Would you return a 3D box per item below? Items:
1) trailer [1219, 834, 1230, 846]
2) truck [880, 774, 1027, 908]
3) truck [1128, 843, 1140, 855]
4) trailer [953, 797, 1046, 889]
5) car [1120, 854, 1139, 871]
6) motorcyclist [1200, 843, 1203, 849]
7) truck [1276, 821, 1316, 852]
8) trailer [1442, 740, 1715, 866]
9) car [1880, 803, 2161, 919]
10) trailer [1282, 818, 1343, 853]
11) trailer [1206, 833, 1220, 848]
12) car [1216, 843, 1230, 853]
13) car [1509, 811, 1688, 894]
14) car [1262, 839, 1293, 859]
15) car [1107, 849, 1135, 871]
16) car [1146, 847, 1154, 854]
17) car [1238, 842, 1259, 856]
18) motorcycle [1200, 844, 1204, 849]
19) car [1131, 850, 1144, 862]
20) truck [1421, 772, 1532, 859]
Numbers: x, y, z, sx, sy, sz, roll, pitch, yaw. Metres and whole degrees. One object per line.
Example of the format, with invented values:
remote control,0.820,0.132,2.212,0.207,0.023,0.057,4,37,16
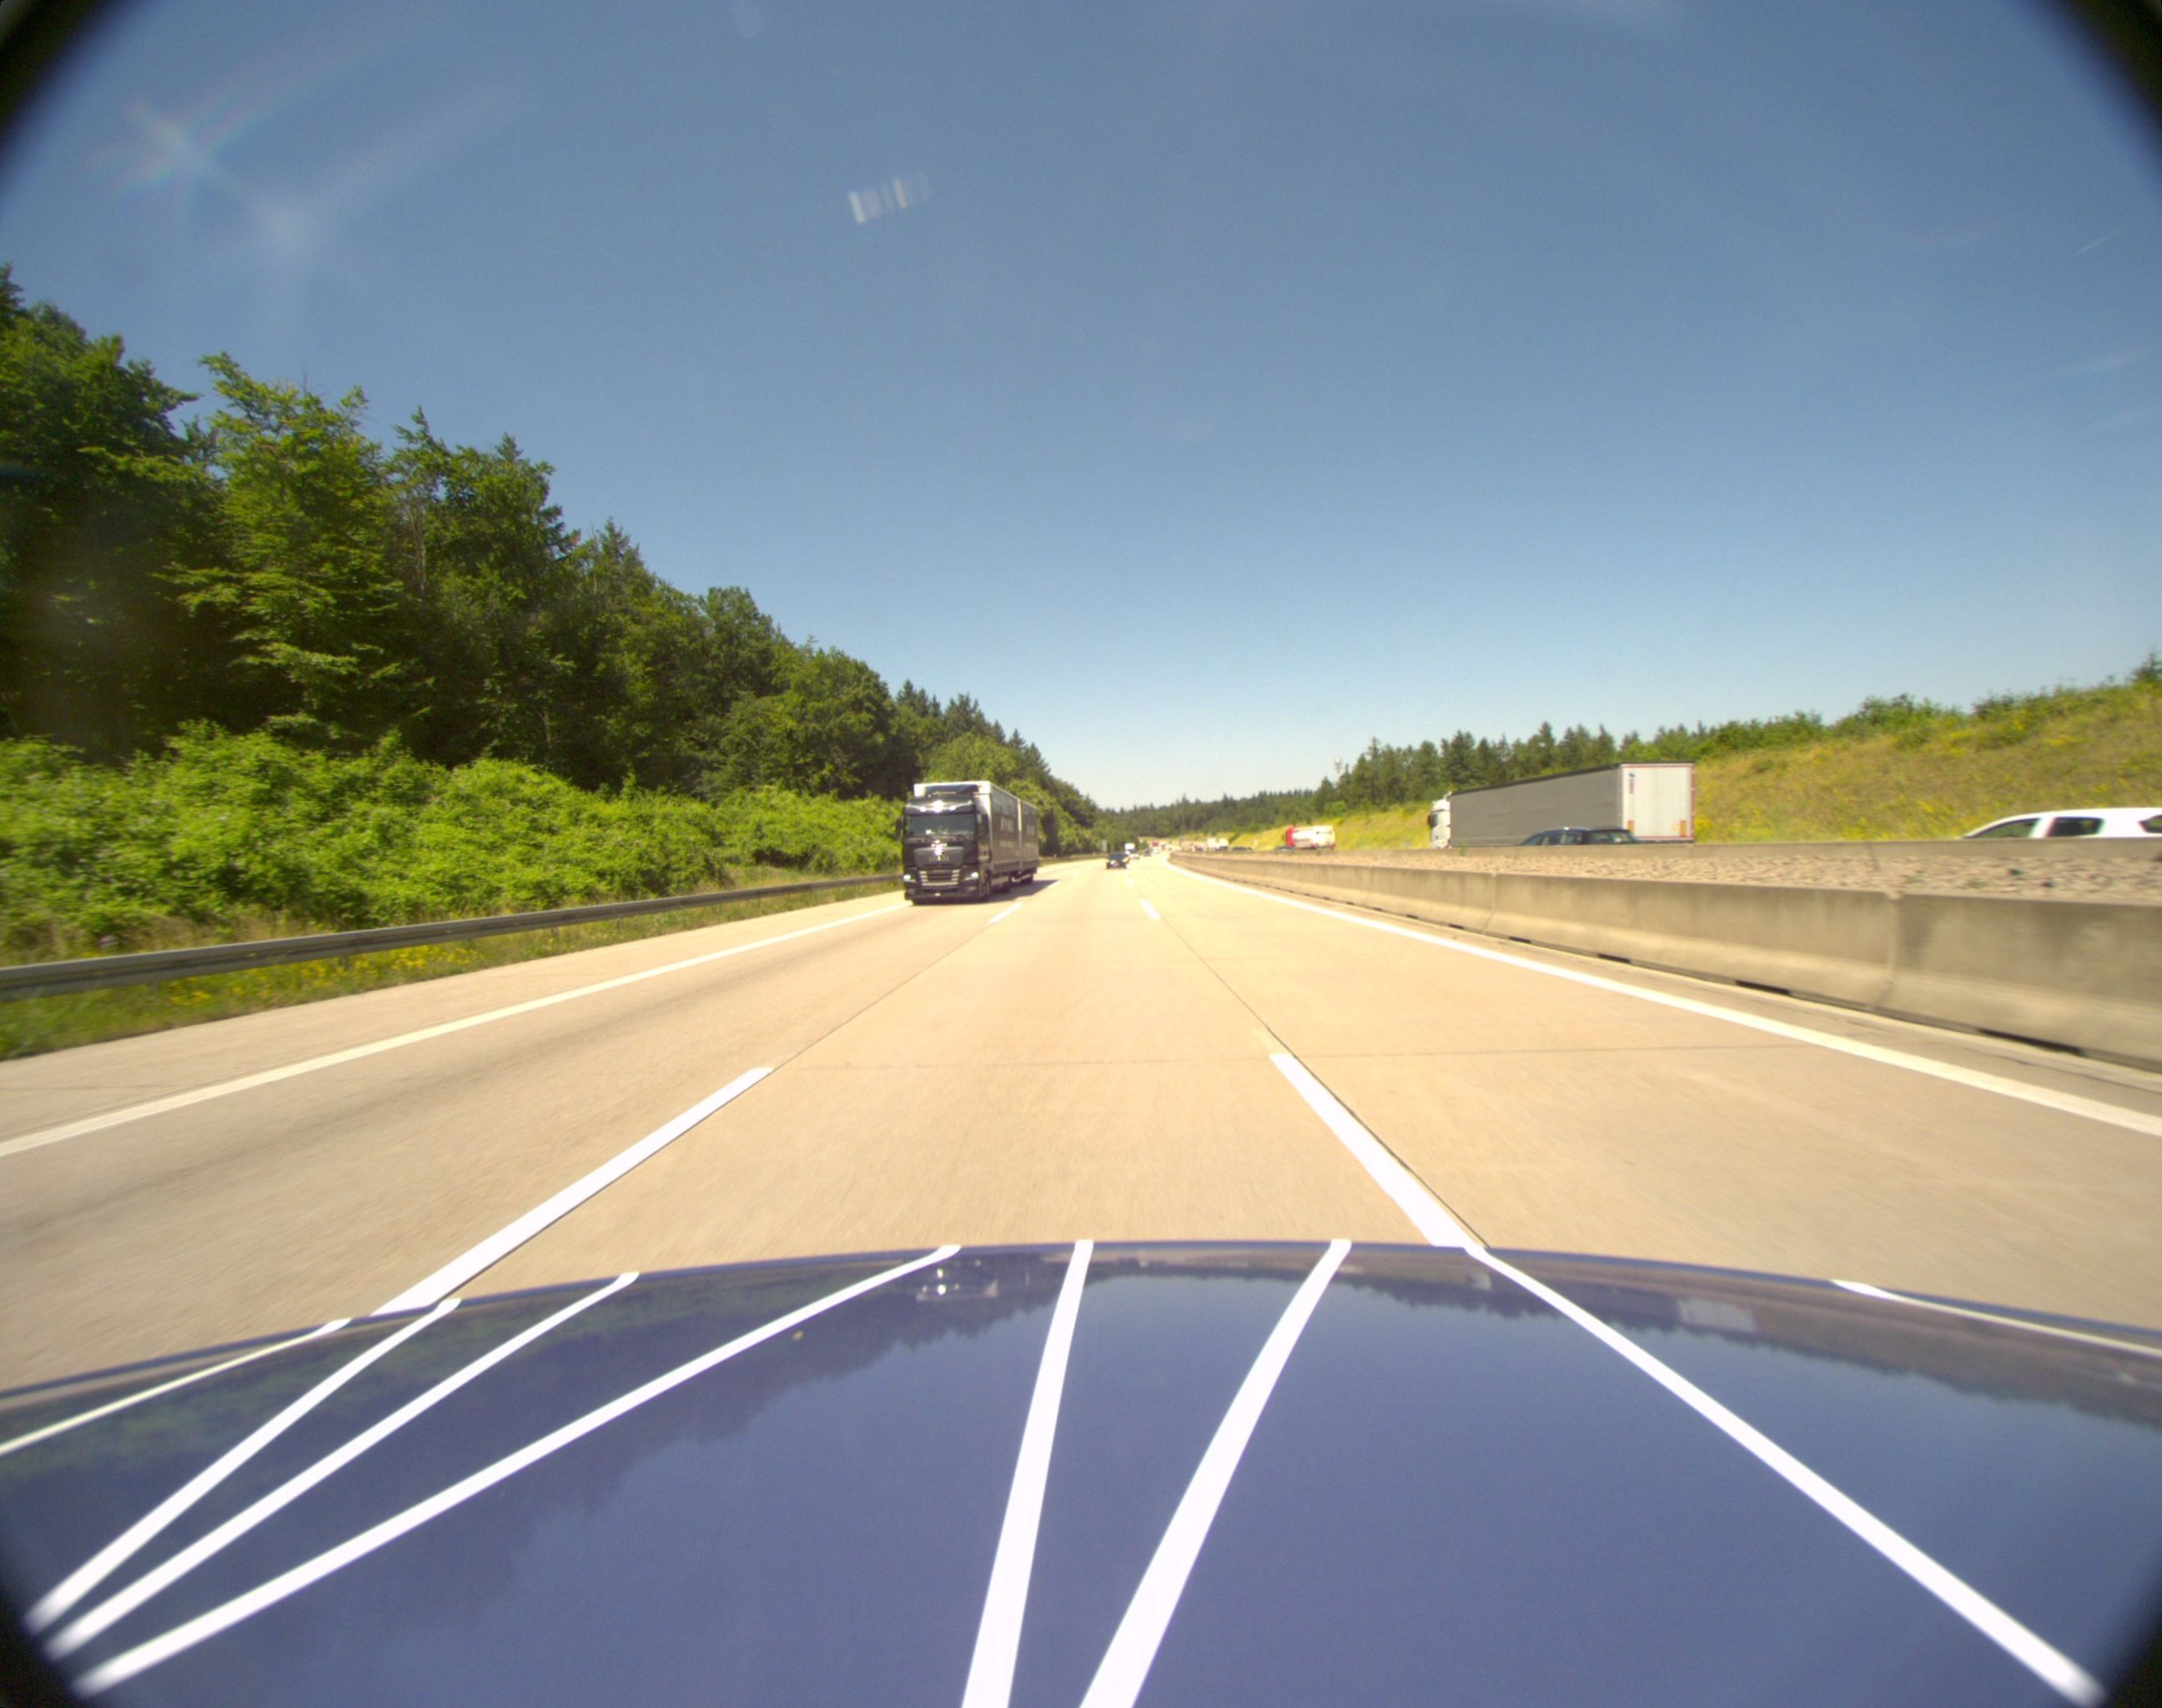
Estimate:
trailer,44.313,-4.435,235.501,2.730,3.393,8.959,-4,1,8
truck,-4.310,-0.435,28.685,3.167,3.993,10.608,-2,0,3
truck,13.634,-1.262,195.201,2.482,2.779,5.918,-5,1,10
trailer,-3.858,-0.524,38.550,3.142,3.993,9.089,-2,0,3
car,5.764,0.996,90.564,1.998,1.694,4.401,-5,1,5
motorcyclist,37.460,-2.510,235.999,0.820,1.863,1.492,-2,1,7
truck,24.340,-1.932,86.269,2.940,3.196,5.905,-4,1,2
trailer,20.703,-1.859,33.587,2.940,4.145,14.388,-4,1,2
car,16.631,0.061,12.868,1.998,1.674,4.000,-2,0,1
trailer,24.125,-1.851,79.993,2.940,3.196,11.831,-4,1,2
trailer,38.360,-3.897,221.311,3.167,3.909,13.872,-4,1,8
car,25.520,-1.125,136.554,1.824,1.786,4.001,-2,0,3
car,13.335,-0.039,19.928,1.998,1.903,4.000,-2,1,1
car,18.218,-0.432,70.658,1.998,1.761,4.000,-1,0,2
car,3.649,0.498,68.245,1.930,1.694,4.402,-5,1,10
car,17.046,-0.760,187.634,1.841,1.547,4.002,-4,1,8
car,21.630,-0.664,98.284,1.998,1.707,4.000,-1,1,3
motorcycle,37.487,-2.333,236.053,1.010,1.540,2.485,-2,0,7
car,9.544,0.330,128.032,1.998,1.694,4.401,-5,1,5
truck,21.041,-1.960,40.848,2.940,4.145,5.760,-4,1,2
